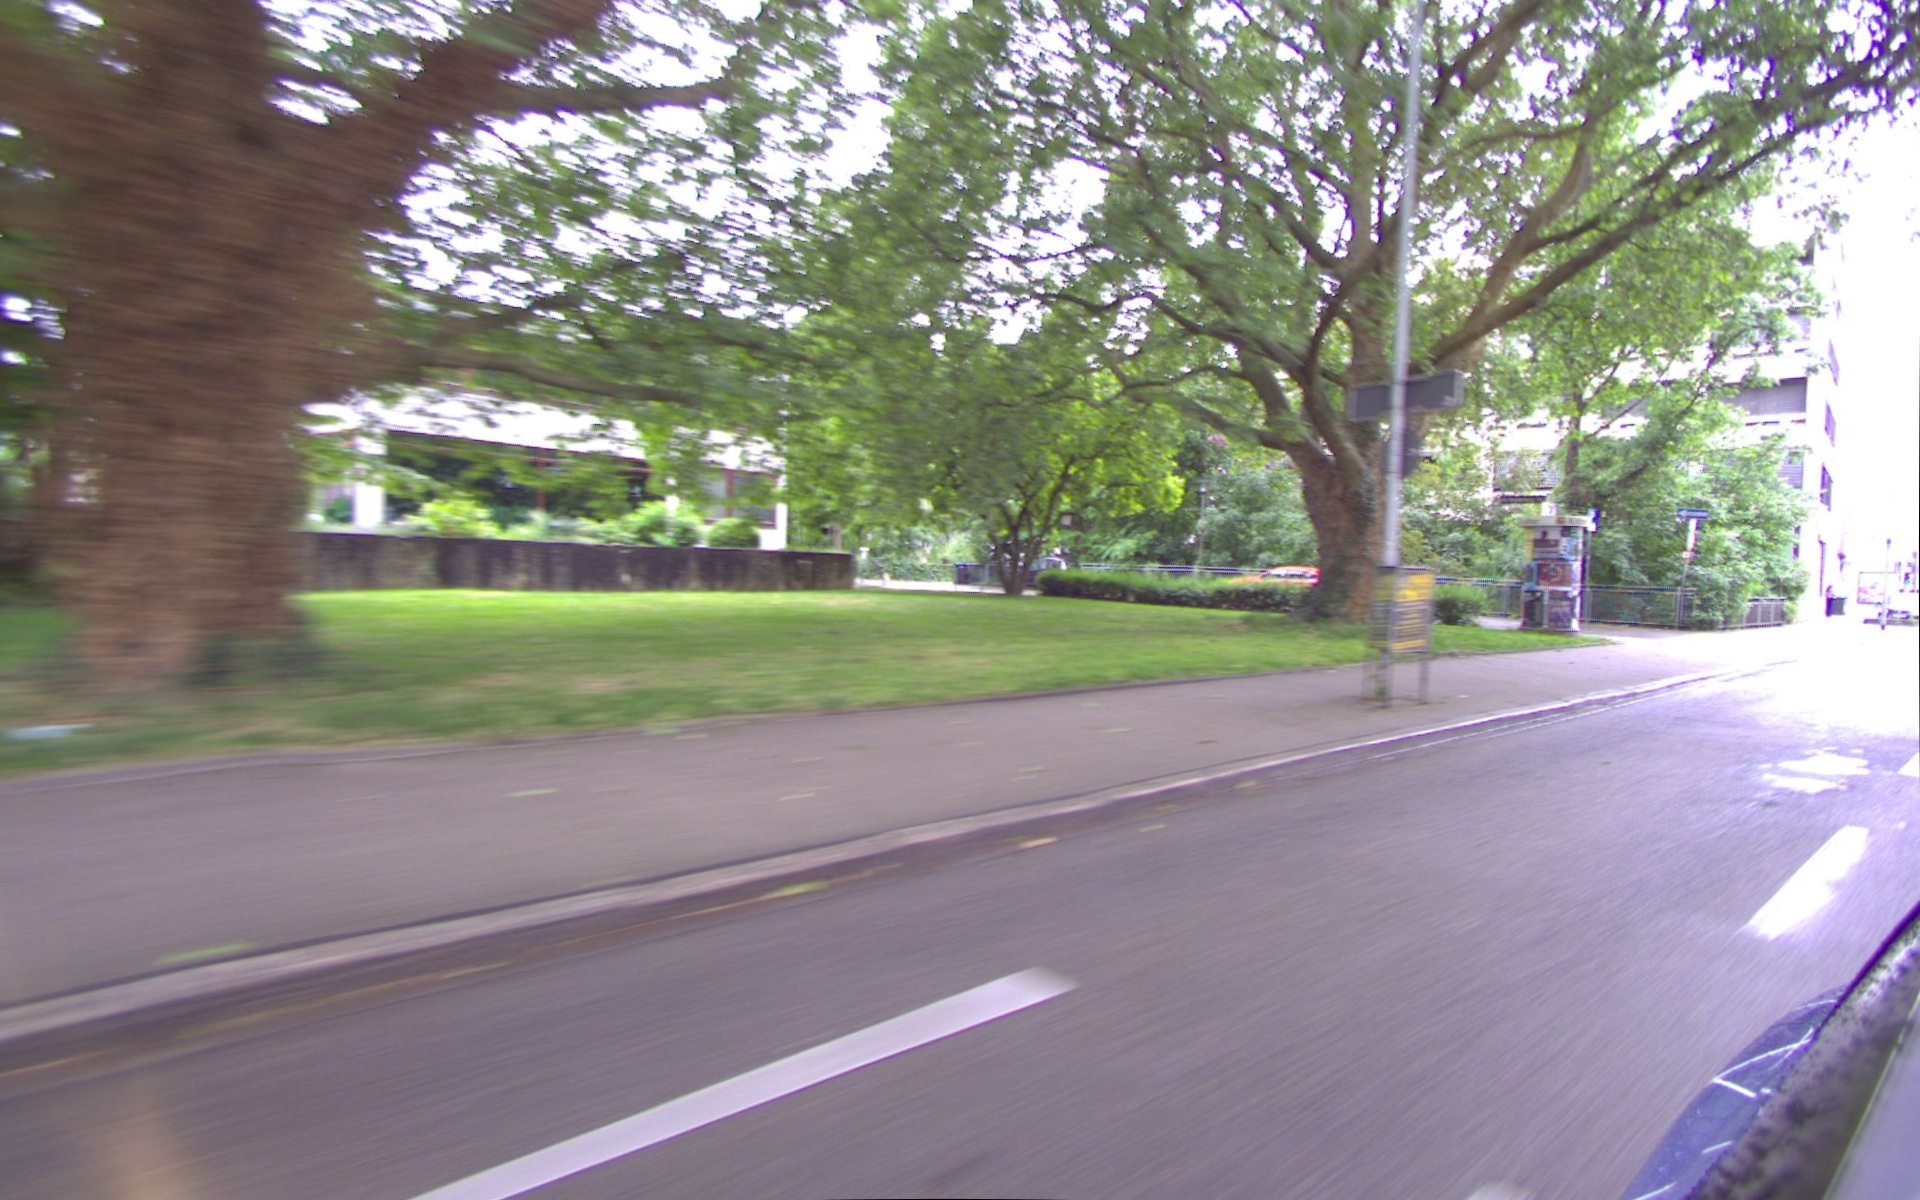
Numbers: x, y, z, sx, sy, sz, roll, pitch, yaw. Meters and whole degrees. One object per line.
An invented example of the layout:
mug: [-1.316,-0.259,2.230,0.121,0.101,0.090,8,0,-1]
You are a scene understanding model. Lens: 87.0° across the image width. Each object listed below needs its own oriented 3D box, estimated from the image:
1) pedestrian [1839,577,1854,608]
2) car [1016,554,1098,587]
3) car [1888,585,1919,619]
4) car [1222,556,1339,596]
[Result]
pedestrian: [43.626,-0.366,49.794,0.473,1.549,0.480,-1,0,-41]
car: [4.248,-1.301,44.607,3.459,1.294,1.426,5,4,44]
car: [44.697,0.099,47.170,3.618,1.449,1.681,0,6,-42]
car: [11.687,-0.907,37.056,1.551,1.294,3.783,-1,4,-45]
